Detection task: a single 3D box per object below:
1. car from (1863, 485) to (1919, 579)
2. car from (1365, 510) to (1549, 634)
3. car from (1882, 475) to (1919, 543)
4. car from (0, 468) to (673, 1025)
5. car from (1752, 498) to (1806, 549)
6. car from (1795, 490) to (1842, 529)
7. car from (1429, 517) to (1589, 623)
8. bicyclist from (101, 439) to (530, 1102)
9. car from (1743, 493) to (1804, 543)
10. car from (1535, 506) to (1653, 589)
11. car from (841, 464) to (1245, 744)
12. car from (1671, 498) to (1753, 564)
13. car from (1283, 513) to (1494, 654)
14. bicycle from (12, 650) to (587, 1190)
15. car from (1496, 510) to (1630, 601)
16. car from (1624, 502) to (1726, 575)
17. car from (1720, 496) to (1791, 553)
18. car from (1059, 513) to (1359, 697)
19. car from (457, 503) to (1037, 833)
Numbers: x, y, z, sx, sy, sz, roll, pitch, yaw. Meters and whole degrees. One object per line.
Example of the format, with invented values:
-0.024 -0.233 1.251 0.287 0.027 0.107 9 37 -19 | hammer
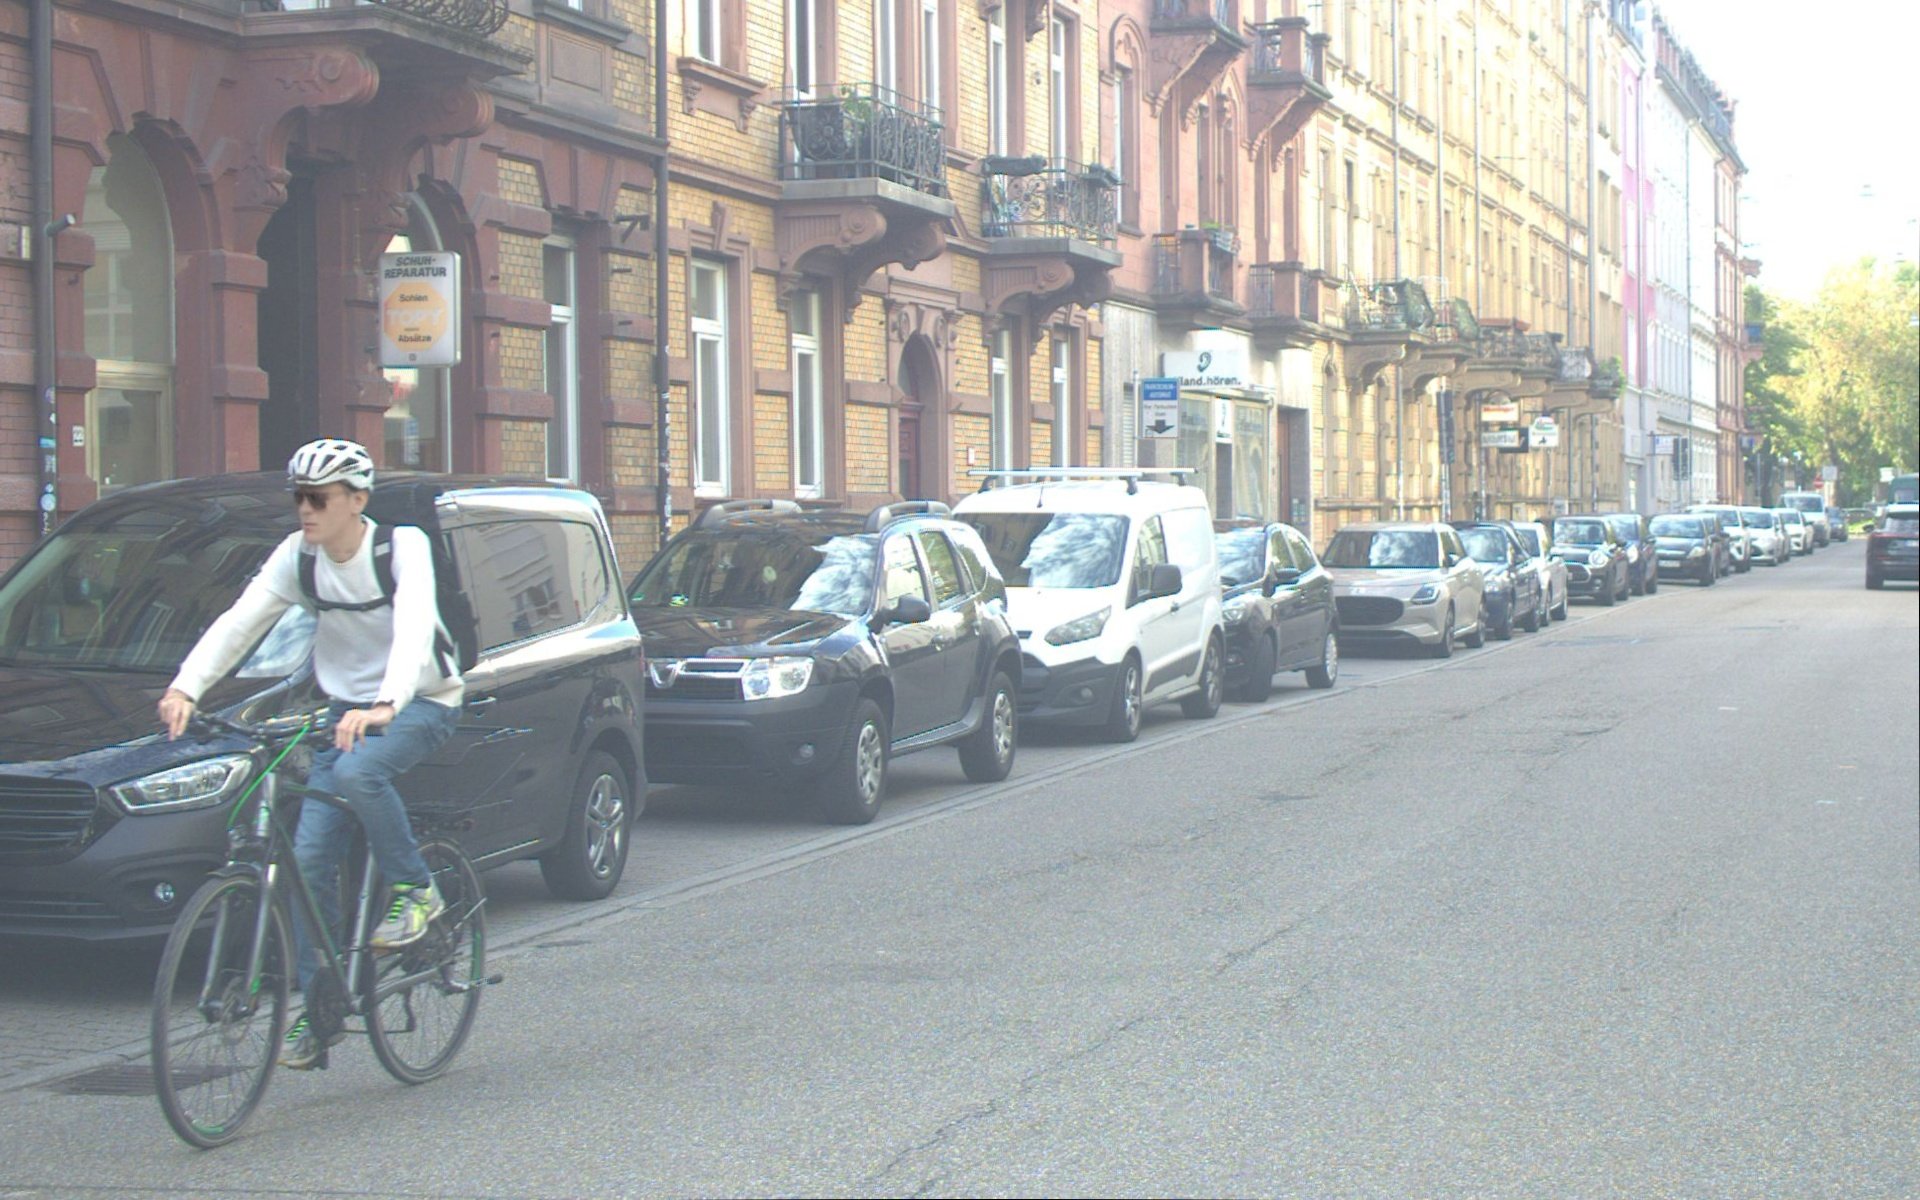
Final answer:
18.216 -1.290 65.109 1.966 1.734 4.038 1 1 17 | car
6.372 -0.396 43.776 1.743 1.478 3.980 1 2 16 | car
29.024 -2.791 104.579 1.783 2.013 3.885 1 2 16 | car
-2.722 0.384 13.336 1.761 1.767 4.403 1 2 16 | car
29.806 -2.780 125.000 1.691 1.815 3.864 1 2 16 | car
34.963 -3.670 139.920 1.691 1.544 3.864 1 2 16 | car
7.701 -0.451 47.991 1.691 1.382 3.864 1 2 16 | car
-1.713 0.431 9.287 0.701 1.672 1.112 -2 0 12 | bicyclist
25.920 -2.604 109.492 1.691 1.544 3.864 1 2 16 | car
11.499 -0.973 62.195 1.691 1.432 3.864 1 2 16 | car
0.719 -0.049 25.293 1.921 1.865 4.434 0 2 16 | car
18.345 -1.705 83.802 1.691 1.544 3.864 2 2 16 | car
4.928 -0.235 39.124 1.743 1.478 3.980 1 2 16 | car
-1.698 0.785 9.260 0.701 1.216 2.116 -2 0 12 | bicycle
9.853 -0.754 55.981 1.691 1.382 3.864 1 2 16 | car
14.986 -1.309 71.935 1.691 1.364 3.864 4 3 16 | car
22.025 -2.097 95.115 1.691 1.544 3.864 1 2 16 | car
2.264 -0.011 30.292 1.743 1.478 3.980 1 2 17 | car
-1.048 0.276 19.298 1.995 1.632 4.142 0 2 16 | car
